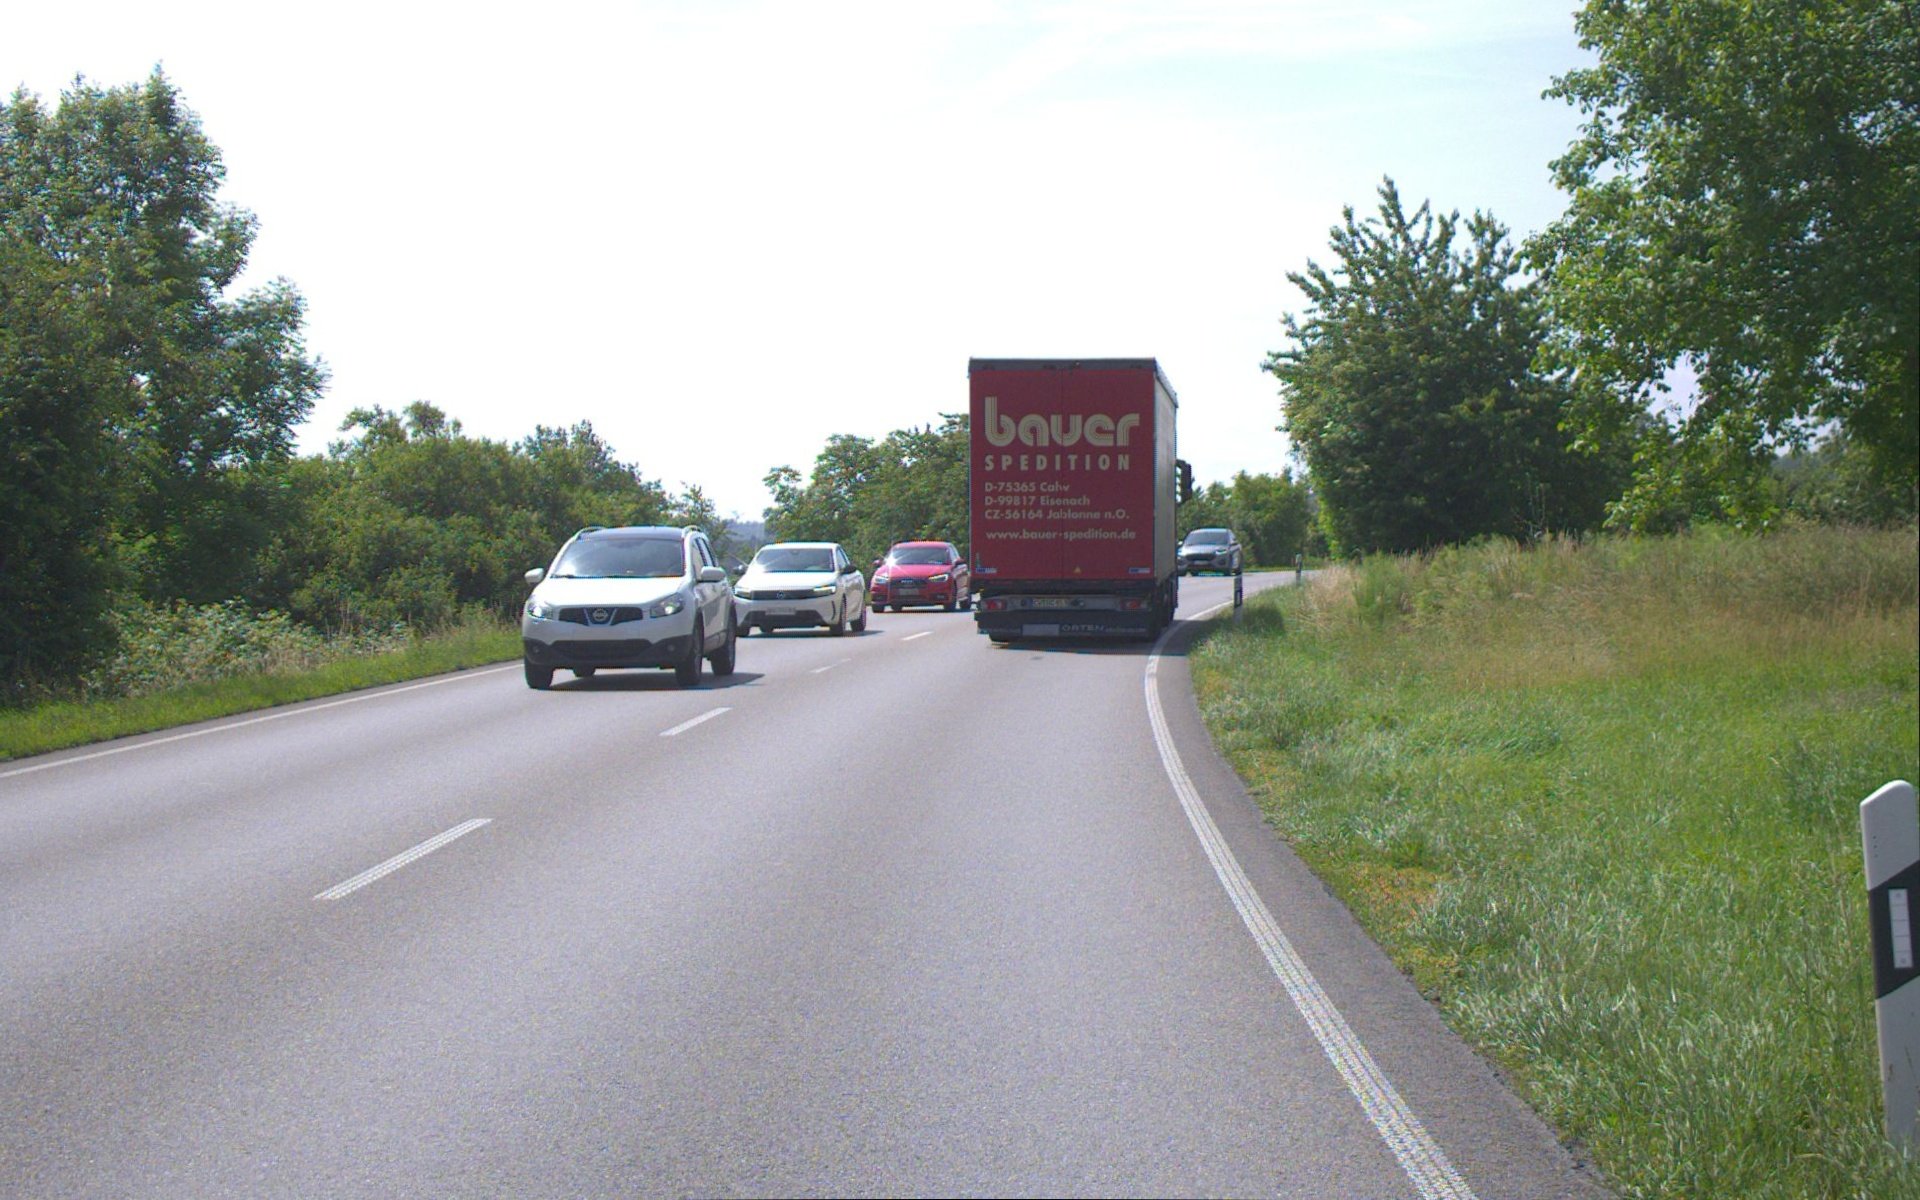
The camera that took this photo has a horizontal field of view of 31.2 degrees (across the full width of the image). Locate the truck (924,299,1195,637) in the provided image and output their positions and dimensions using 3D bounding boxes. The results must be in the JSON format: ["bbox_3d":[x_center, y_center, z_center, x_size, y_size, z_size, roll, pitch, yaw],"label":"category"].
[{"bbox_3d":[1.739,-1.809,52.186,3.113,4.490,12.164,1,0,6],"label":"truck"}]

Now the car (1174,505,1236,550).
[{"bbox_3d":[8.614,-2.556,120.860,1.994,1.518,3.999,-1,2,6],"label":"car"}]

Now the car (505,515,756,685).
[{"bbox_3d":[-3.409,-0.050,36.358,1.833,1.611,4.362,-2,2,5],"label":"car"}]

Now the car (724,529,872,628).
[{"bbox_3d":[-2.492,-0.360,53.726,1.751,1.409,3.772,-1,1,5],"label":"car"}]

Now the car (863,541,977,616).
[{"bbox_3d":[-0.780,-0.463,70.615,1.821,1.393,4.182,-2,1,6],"label":"car"}]
